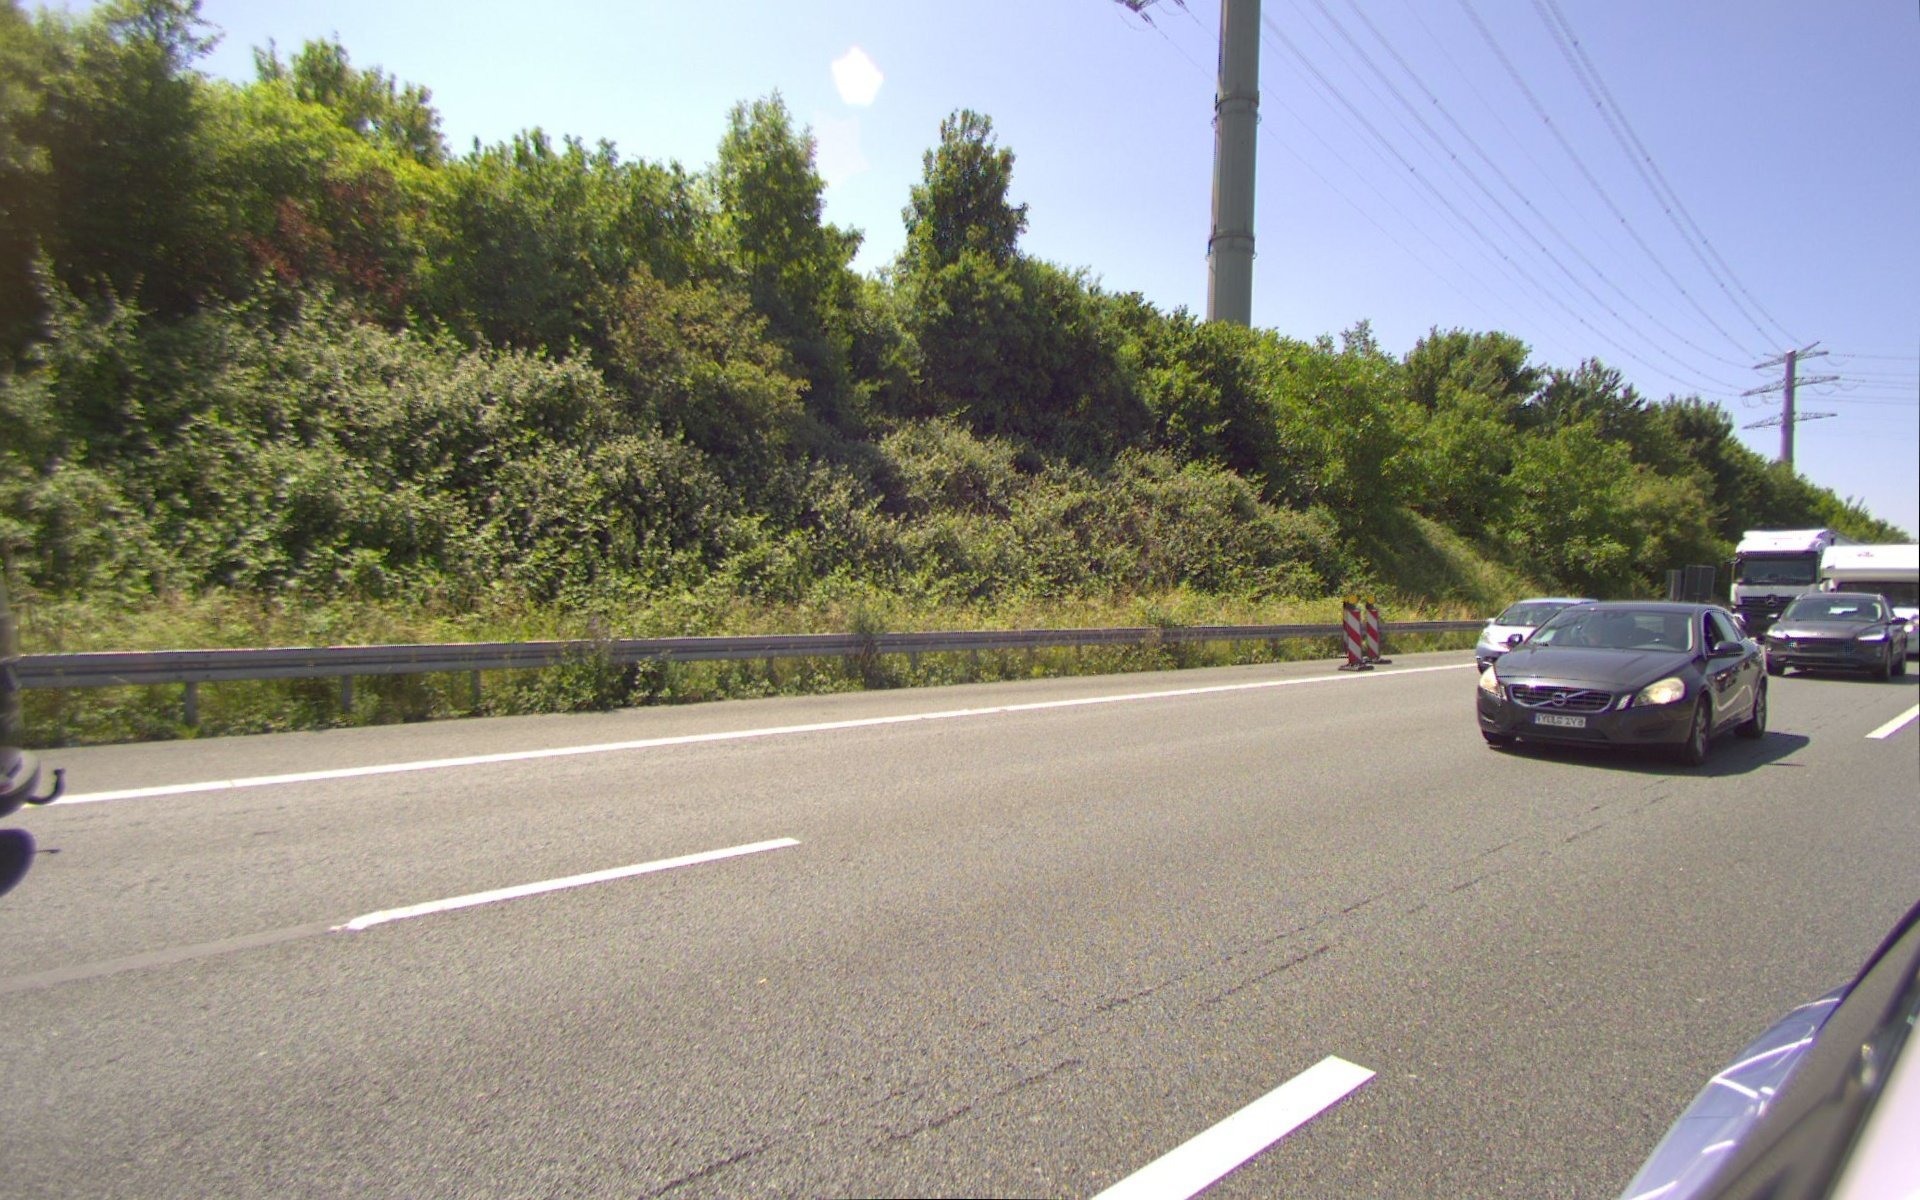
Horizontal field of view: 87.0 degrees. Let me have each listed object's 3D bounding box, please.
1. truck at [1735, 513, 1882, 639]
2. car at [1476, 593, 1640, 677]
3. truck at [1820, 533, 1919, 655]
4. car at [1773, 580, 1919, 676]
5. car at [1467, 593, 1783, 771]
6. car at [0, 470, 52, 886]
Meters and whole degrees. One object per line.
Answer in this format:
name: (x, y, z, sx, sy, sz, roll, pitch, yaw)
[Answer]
truck: (32.404, -0.815, 38.393, 11.460, 4.204, 2.653, 0, 0, -42)
car: (11.589, 0.597, 19.538, 3.669, 1.455, 1.798, 0, 0, -43)
truck: (27.290, -0.157, 29.073, 9.724, 3.053, 2.512, 0, 0, -41)
car: (17.865, 0.488, 20.288, 4.310, 1.724, 1.889, 0, 0, -43)
car: (6.919, 0.657, 10.351, 4.160, 1.455, 1.798, 0, 0, -43)
car: (-6.635, 0.367, 3.914, 4.618, 1.928, 1.786, 0, 0, -42)
